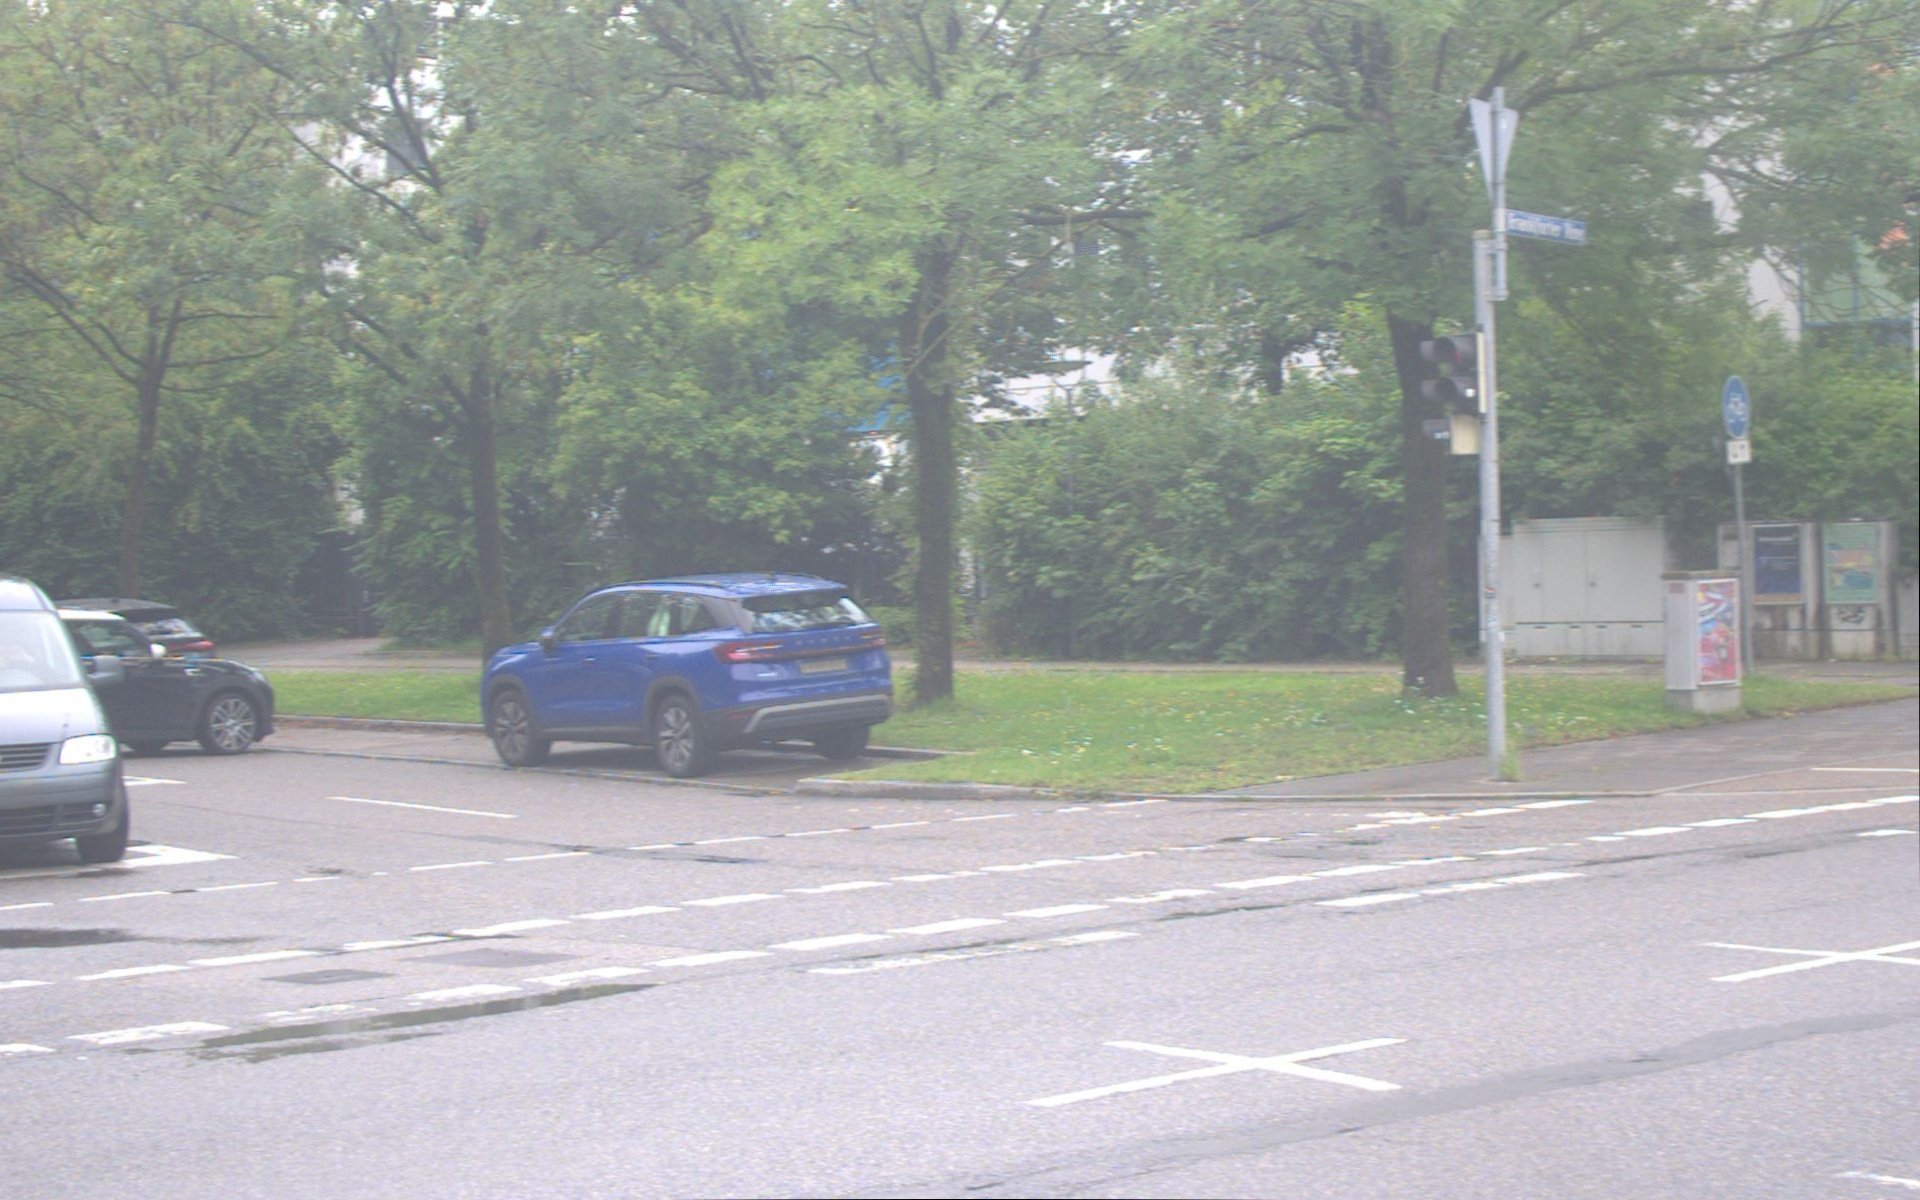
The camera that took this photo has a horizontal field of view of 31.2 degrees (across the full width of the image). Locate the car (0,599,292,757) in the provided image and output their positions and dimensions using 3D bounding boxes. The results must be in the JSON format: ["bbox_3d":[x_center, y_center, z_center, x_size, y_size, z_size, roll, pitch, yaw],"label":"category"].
[{"bbox_3d":[-8.444,0.755,33.924,3.269,1.439,1.665,-1,0,-28],"label":"car"}]

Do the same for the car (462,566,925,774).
[{"bbox_3d":[-2.405,0.589,30.069,1.994,1.569,4.281,-5,2,-36],"label":"car"}]

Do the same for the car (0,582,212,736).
[{"bbox_3d":[-10.451,0.679,39.298,1.758,1.569,4.162,-5,2,-43],"label":"car"}]

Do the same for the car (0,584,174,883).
[{"bbox_3d":[-6.516,0.808,22.199,1.993,1.717,4.792,-1,0,-23],"label":"car"}]
